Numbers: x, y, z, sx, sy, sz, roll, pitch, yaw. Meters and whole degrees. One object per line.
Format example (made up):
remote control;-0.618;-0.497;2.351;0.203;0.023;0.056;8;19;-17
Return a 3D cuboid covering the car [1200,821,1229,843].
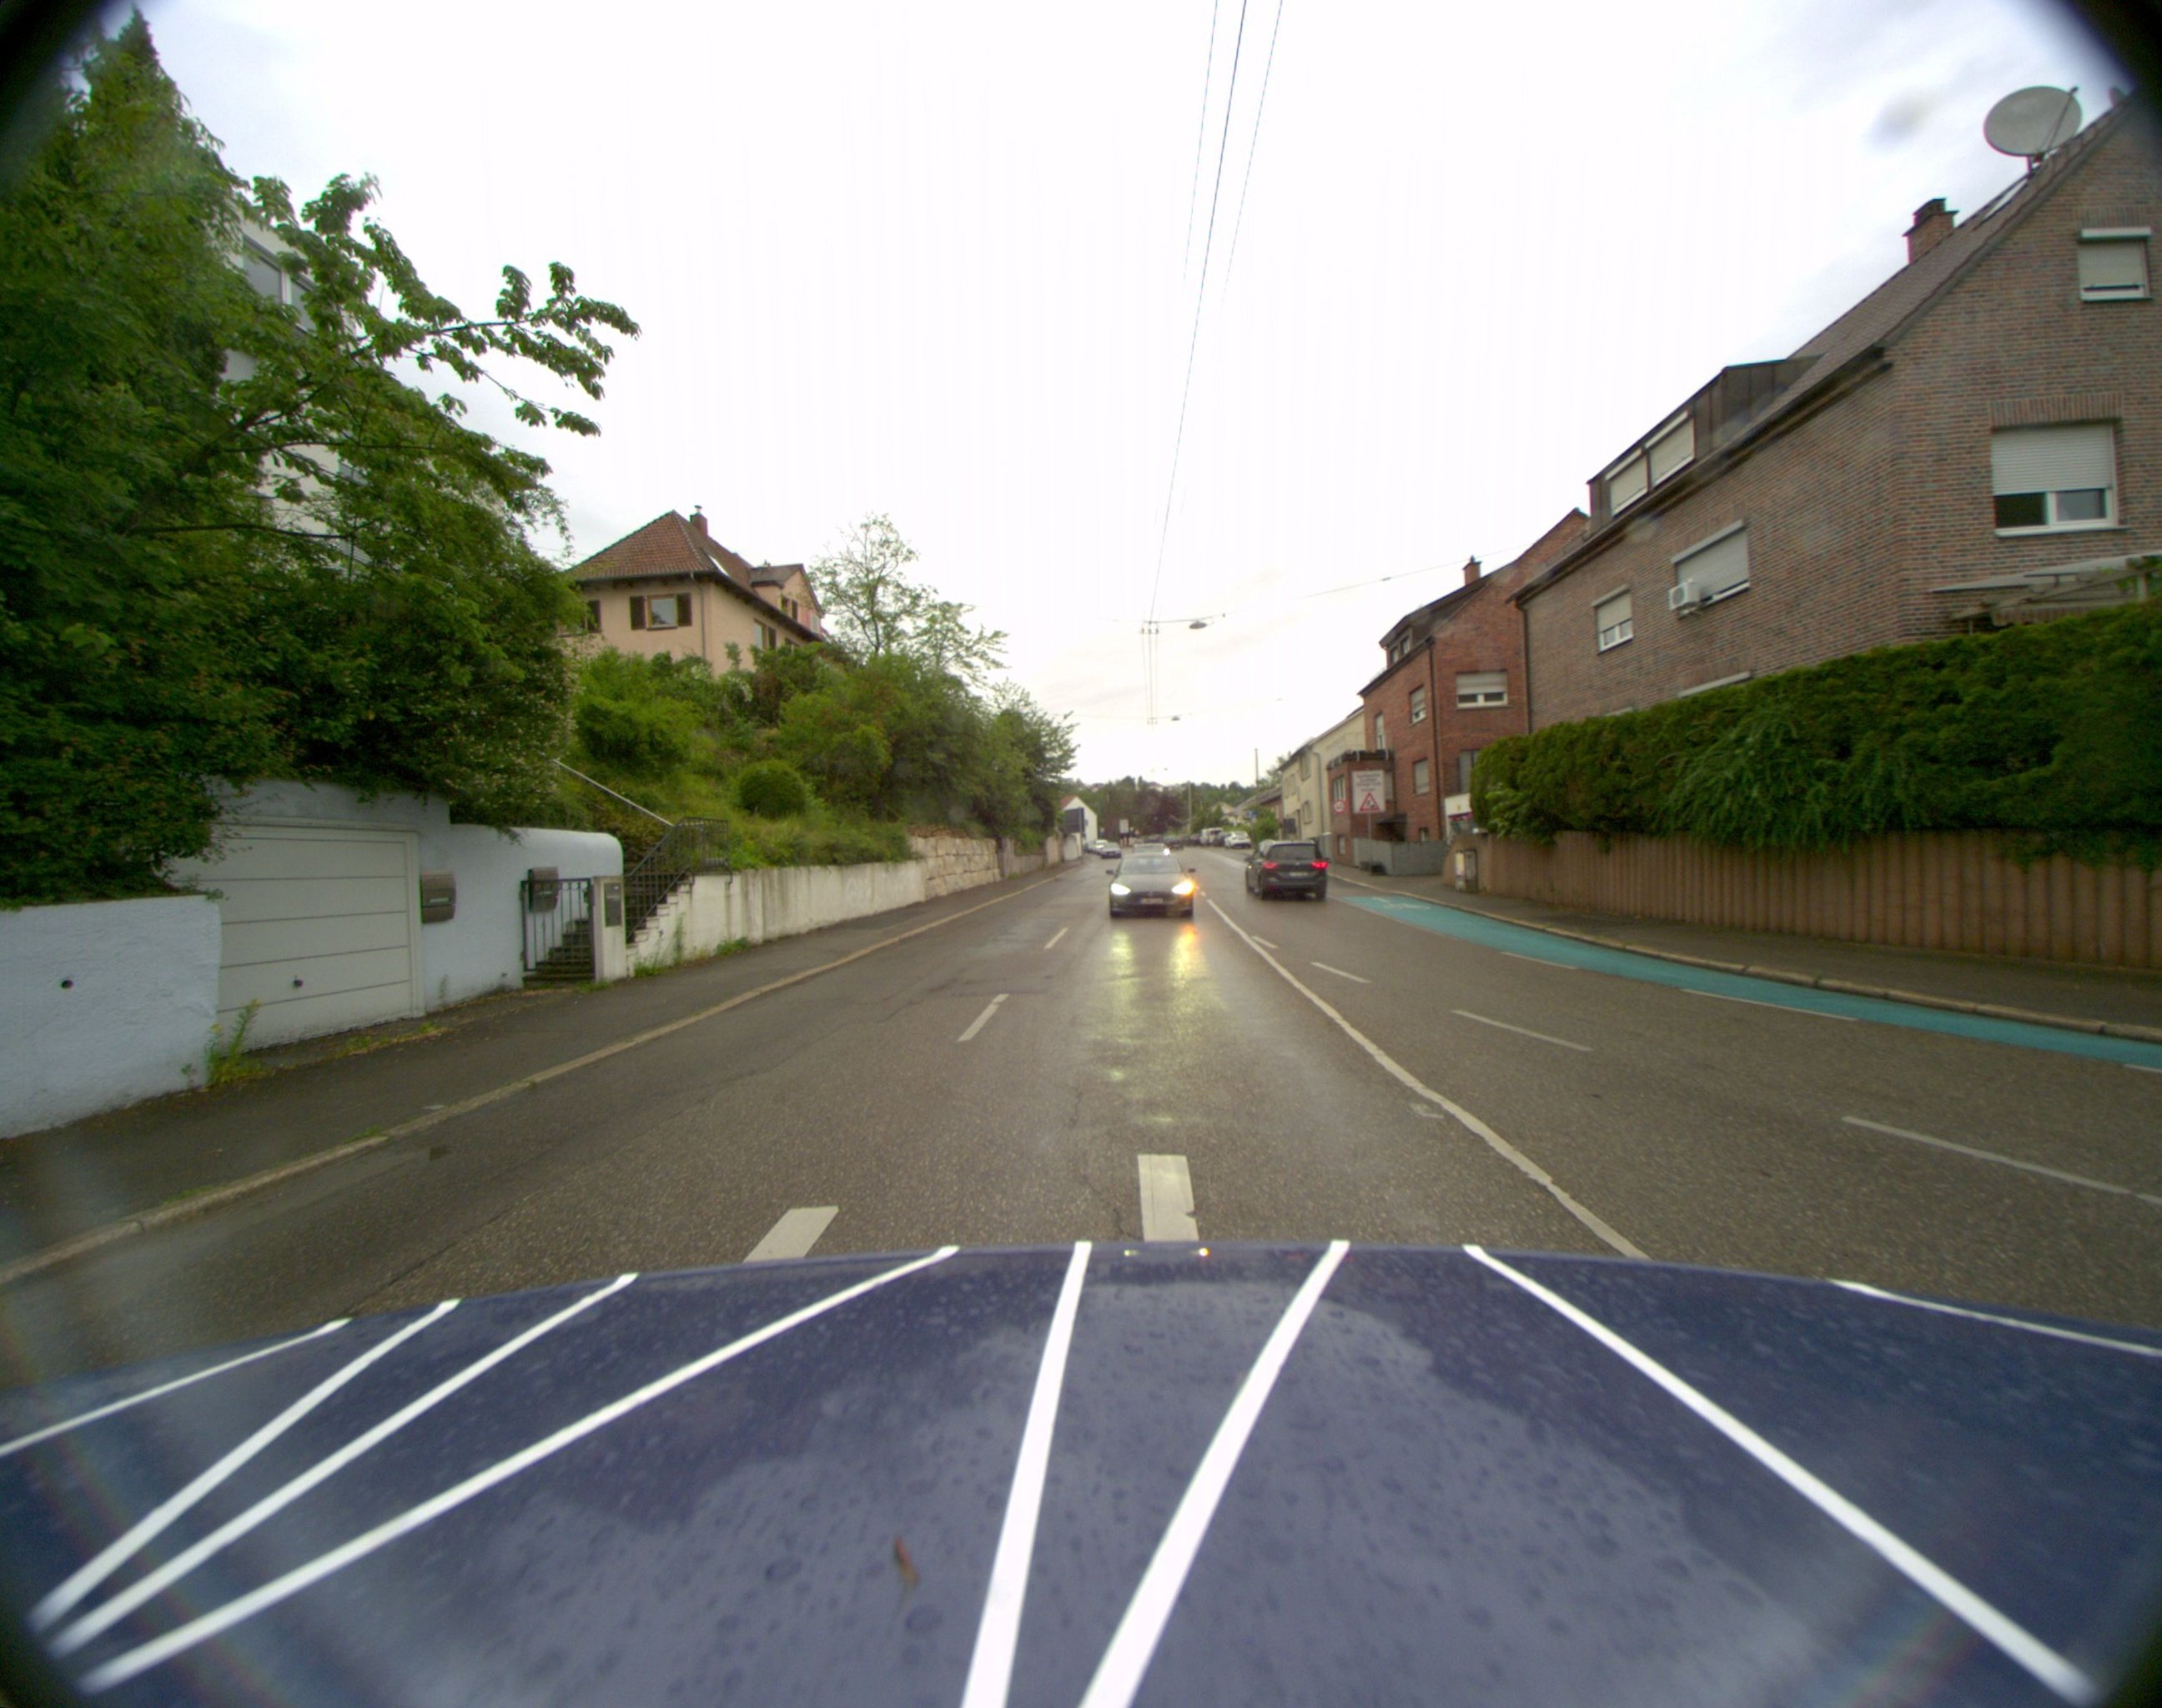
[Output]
car;15.048;-2.413;85.798;2.257;2.273;4.546;-4;1;0

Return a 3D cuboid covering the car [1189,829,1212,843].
car;14.259;-2.127;91.143;1.654;1.482;4.009;-4;1;-6

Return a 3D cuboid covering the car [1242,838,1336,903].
car;5.912;0.399;22.140;1.853;1.671;4.172;0;2;4

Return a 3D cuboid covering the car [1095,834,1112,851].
car;2.602;-1.370;88.613;1.820;1.855;4.038;-2;2;-1

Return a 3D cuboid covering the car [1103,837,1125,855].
car;3.165;-0.728;72.750;2.002;1.596;4.359;-2;-1;4

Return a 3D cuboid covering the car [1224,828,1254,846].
car;14.883;-1.621;71.620;1.946;1.557;4.263;-4;1;1

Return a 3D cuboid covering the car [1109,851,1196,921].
car;1.700;0.688;18.609;1.870;1.407;4.000;-2;1;4

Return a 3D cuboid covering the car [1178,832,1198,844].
car;13.694;-1.984;97.104;1.654;1.388;3.859;-4;1;-5

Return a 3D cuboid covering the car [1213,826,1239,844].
car;15.198;-1.979;79.769;1.814;1.793;4.263;-4;1;1

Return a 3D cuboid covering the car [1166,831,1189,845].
car;10.605;-1.719;83.638;1.920;1.438;3.717;-2;1;-1

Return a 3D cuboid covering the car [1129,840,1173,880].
car;3.039;0.213;33.407;1.789;1.580;3.784;-2;1;4
